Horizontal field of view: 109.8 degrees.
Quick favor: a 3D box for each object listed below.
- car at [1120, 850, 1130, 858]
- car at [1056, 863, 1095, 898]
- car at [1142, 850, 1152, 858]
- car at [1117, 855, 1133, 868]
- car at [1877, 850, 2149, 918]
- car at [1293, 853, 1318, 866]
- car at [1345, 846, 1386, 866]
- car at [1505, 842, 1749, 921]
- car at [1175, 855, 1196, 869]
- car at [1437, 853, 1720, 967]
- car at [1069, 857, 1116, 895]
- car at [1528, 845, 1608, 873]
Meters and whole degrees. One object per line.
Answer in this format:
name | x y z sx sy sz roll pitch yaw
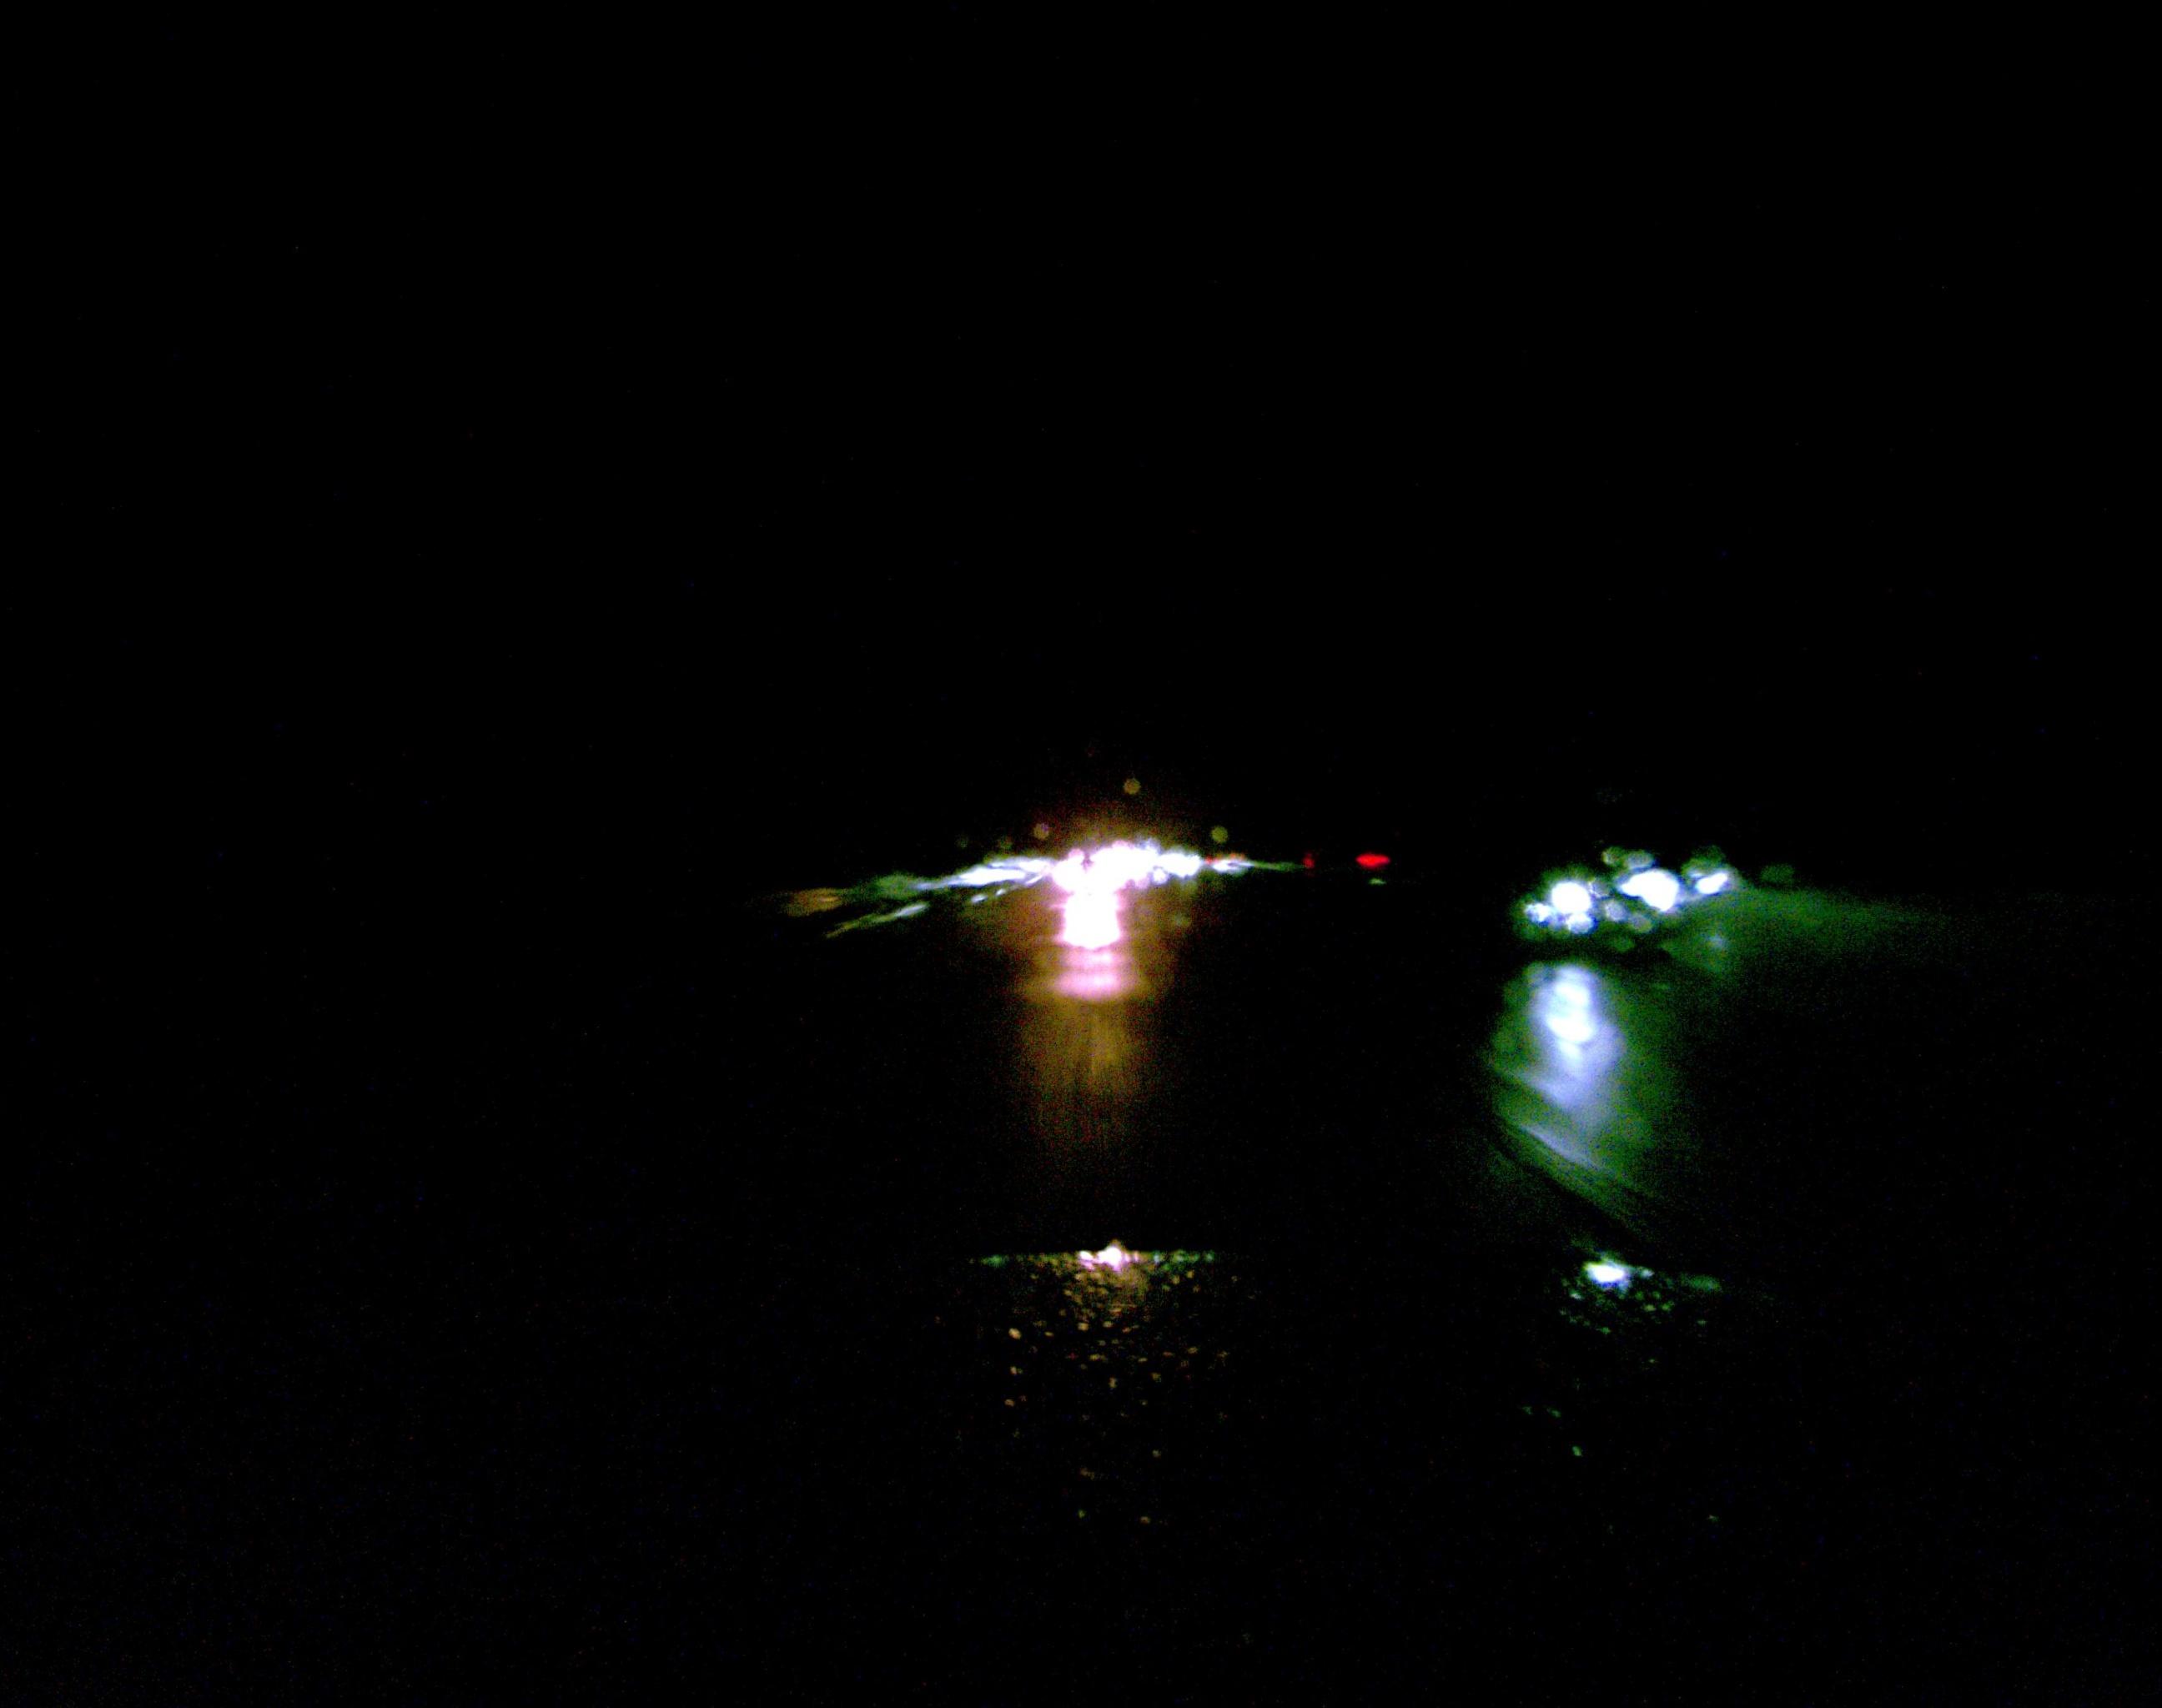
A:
car | 9.567 -0.072 165.217 1.998 1.551 4.587 -2 1 1
car | -0.197 1.070 32.058 1.525 1.256 3.369 -2 1 1
car | 14.388 -0.011 165.225 1.998 1.797 4.000 -2 1 2
car | 5.815 1.030 101.328 1.998 1.551 4.587 -2 1 1
car | 24.888 0.709 20.609 1.885 1.548 4.459 -2 1 -1
car | 29.737 0.724 100.910 1.885 1.548 4.459 -2 1 -1
car | 25.024 0.147 66.900 1.885 1.548 4.459 -2 1 -1
car | 12.036 0.507 17.325 1.998 1.468 5.165 -2 1 2
car | 12.802 0.940 93.519 1.998 1.551 4.587 -2 1 1
car | 7.695 0.763 12.317 1.998 1.433 4.000 -2 1 1
car | 0.528 1.004 34.967 1.998 1.542 4.001 -2 -1 1
car | 29.004 0.260 45.427 1.884 1.548 4.460 -2 1 0
